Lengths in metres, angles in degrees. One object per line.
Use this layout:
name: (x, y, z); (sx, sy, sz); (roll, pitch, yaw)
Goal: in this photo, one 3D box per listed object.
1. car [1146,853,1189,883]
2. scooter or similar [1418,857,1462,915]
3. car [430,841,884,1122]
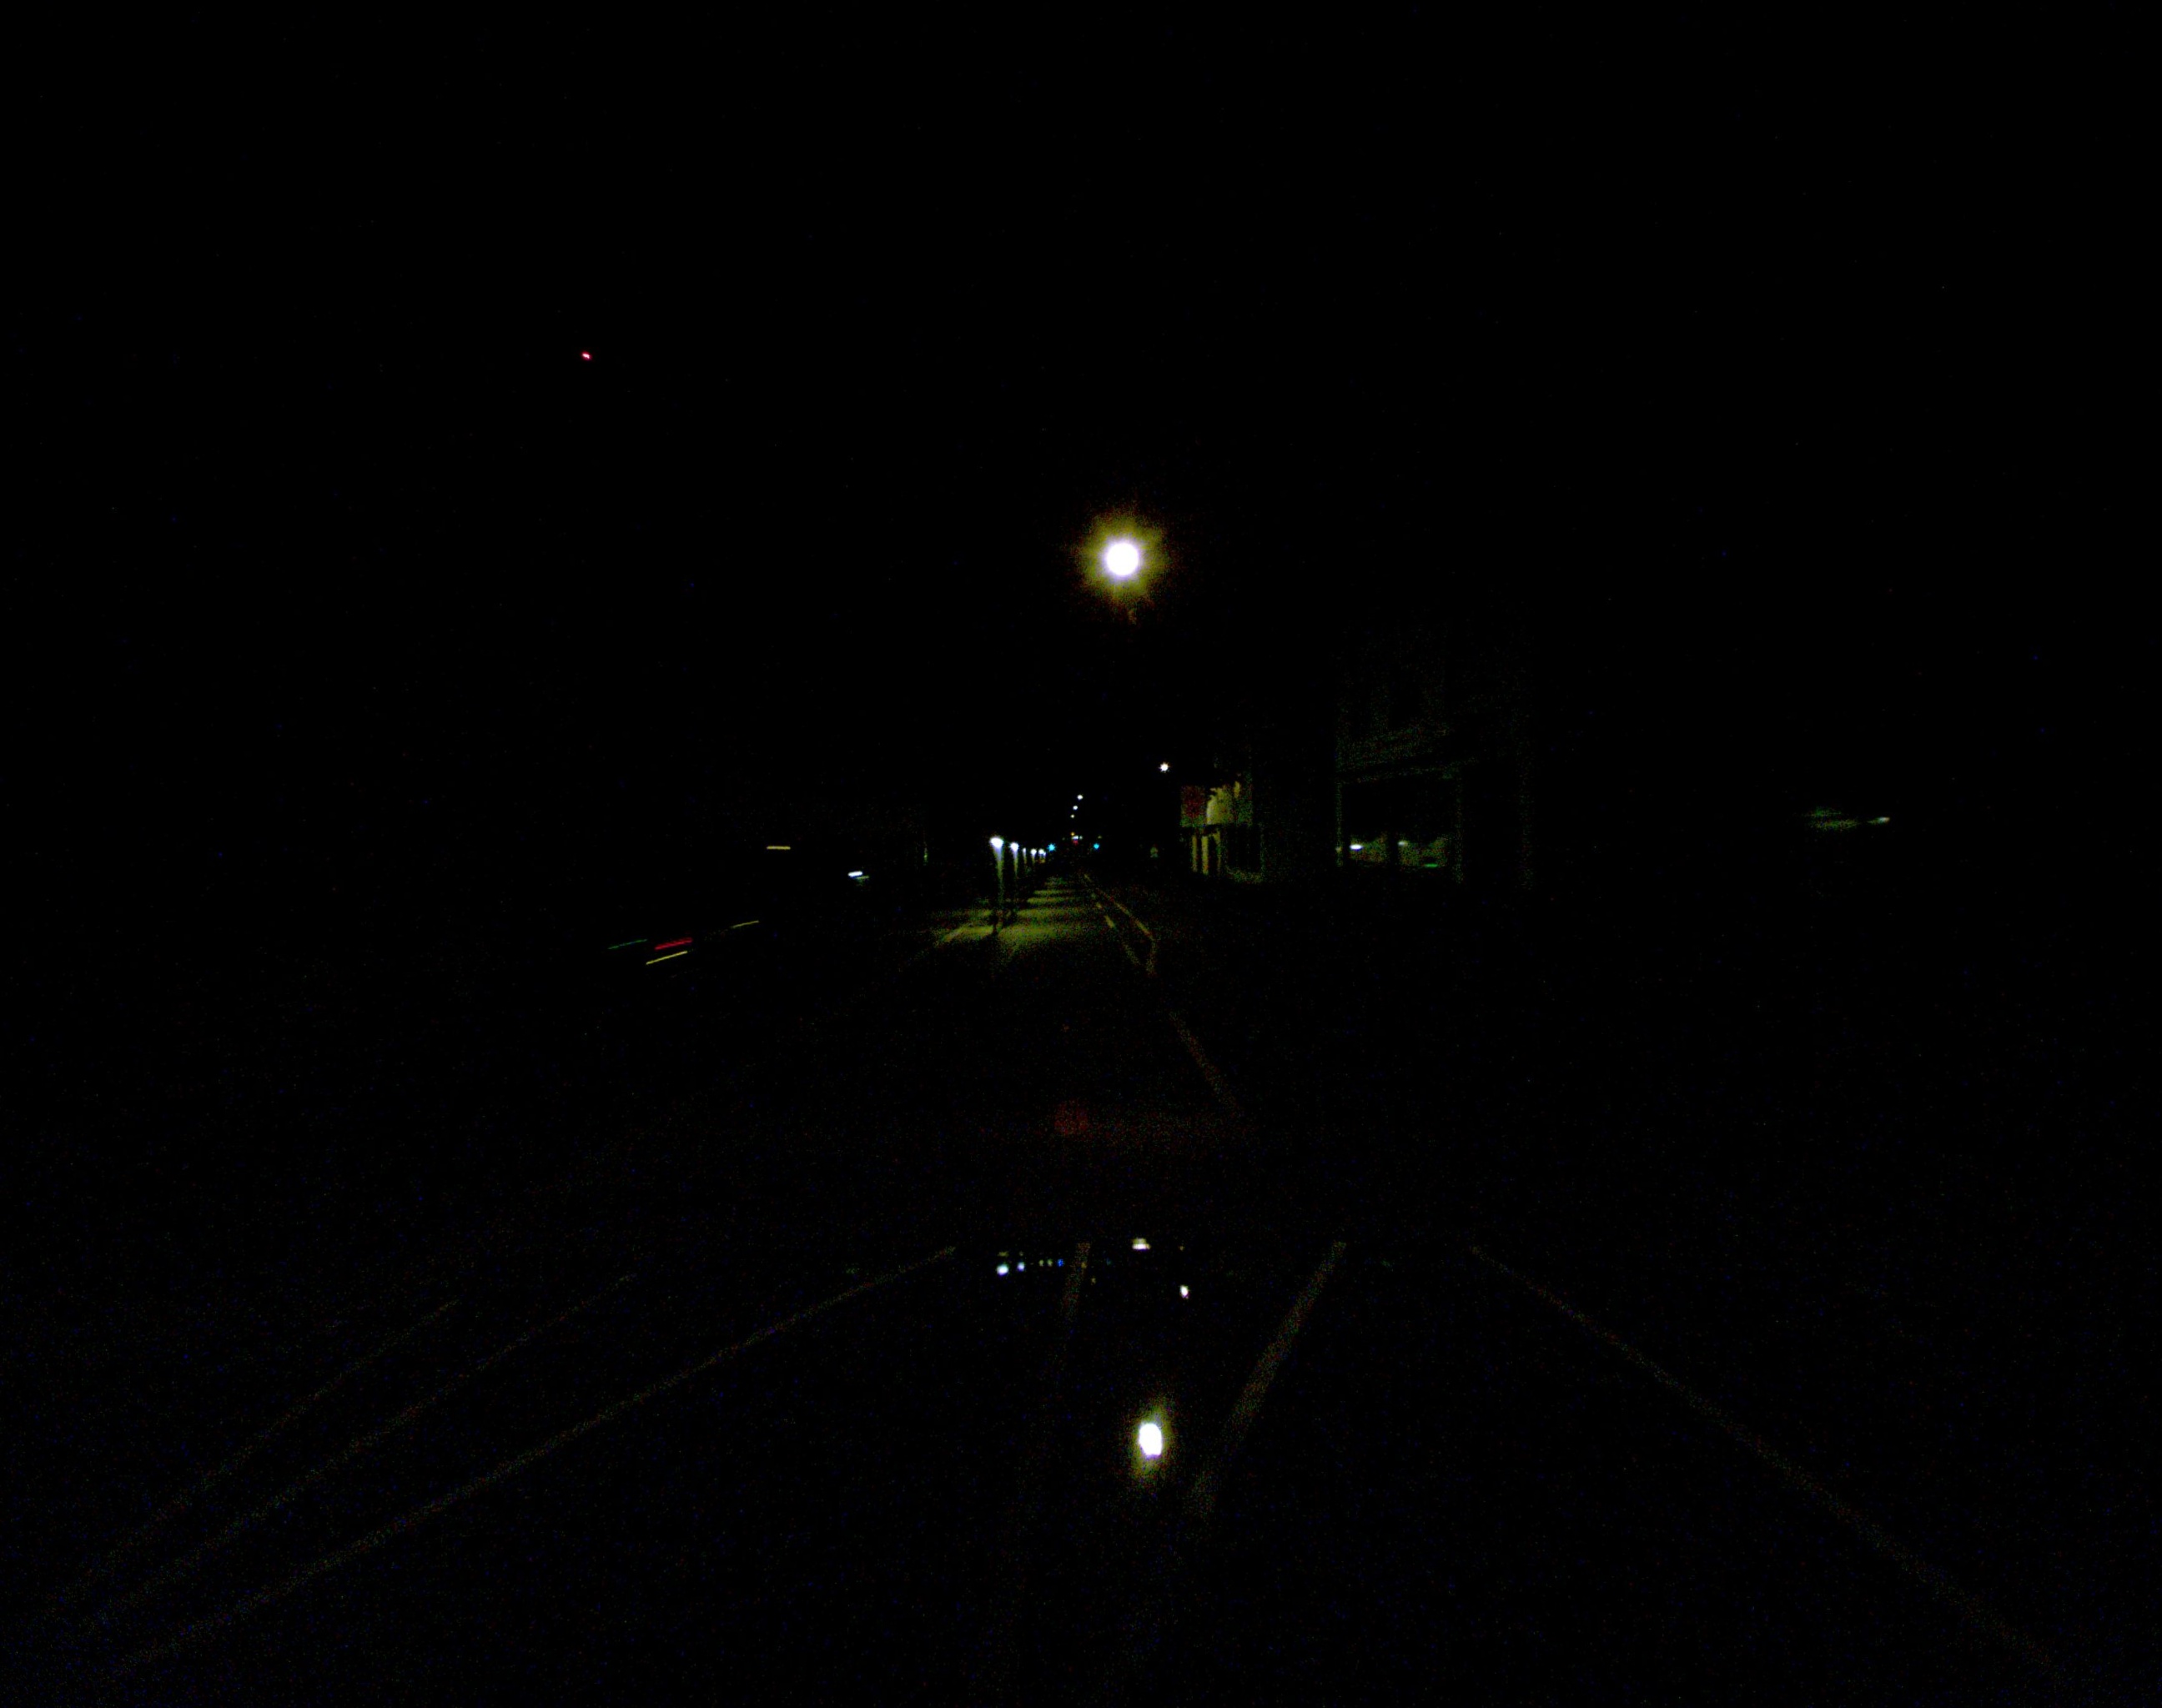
car: (4.830, 0.744, 42.782); (1.731, 1.477, 4.290); (-3, 0, -2)
scooter or similar: (8.048, 0.698, 17.071); (0.332, 1.218, 1.335); (-3, 1, 1)
car: (-3.468, 0.842, 7.561); (1.916, 1.816, 4.898); (-2, 0, -3)
